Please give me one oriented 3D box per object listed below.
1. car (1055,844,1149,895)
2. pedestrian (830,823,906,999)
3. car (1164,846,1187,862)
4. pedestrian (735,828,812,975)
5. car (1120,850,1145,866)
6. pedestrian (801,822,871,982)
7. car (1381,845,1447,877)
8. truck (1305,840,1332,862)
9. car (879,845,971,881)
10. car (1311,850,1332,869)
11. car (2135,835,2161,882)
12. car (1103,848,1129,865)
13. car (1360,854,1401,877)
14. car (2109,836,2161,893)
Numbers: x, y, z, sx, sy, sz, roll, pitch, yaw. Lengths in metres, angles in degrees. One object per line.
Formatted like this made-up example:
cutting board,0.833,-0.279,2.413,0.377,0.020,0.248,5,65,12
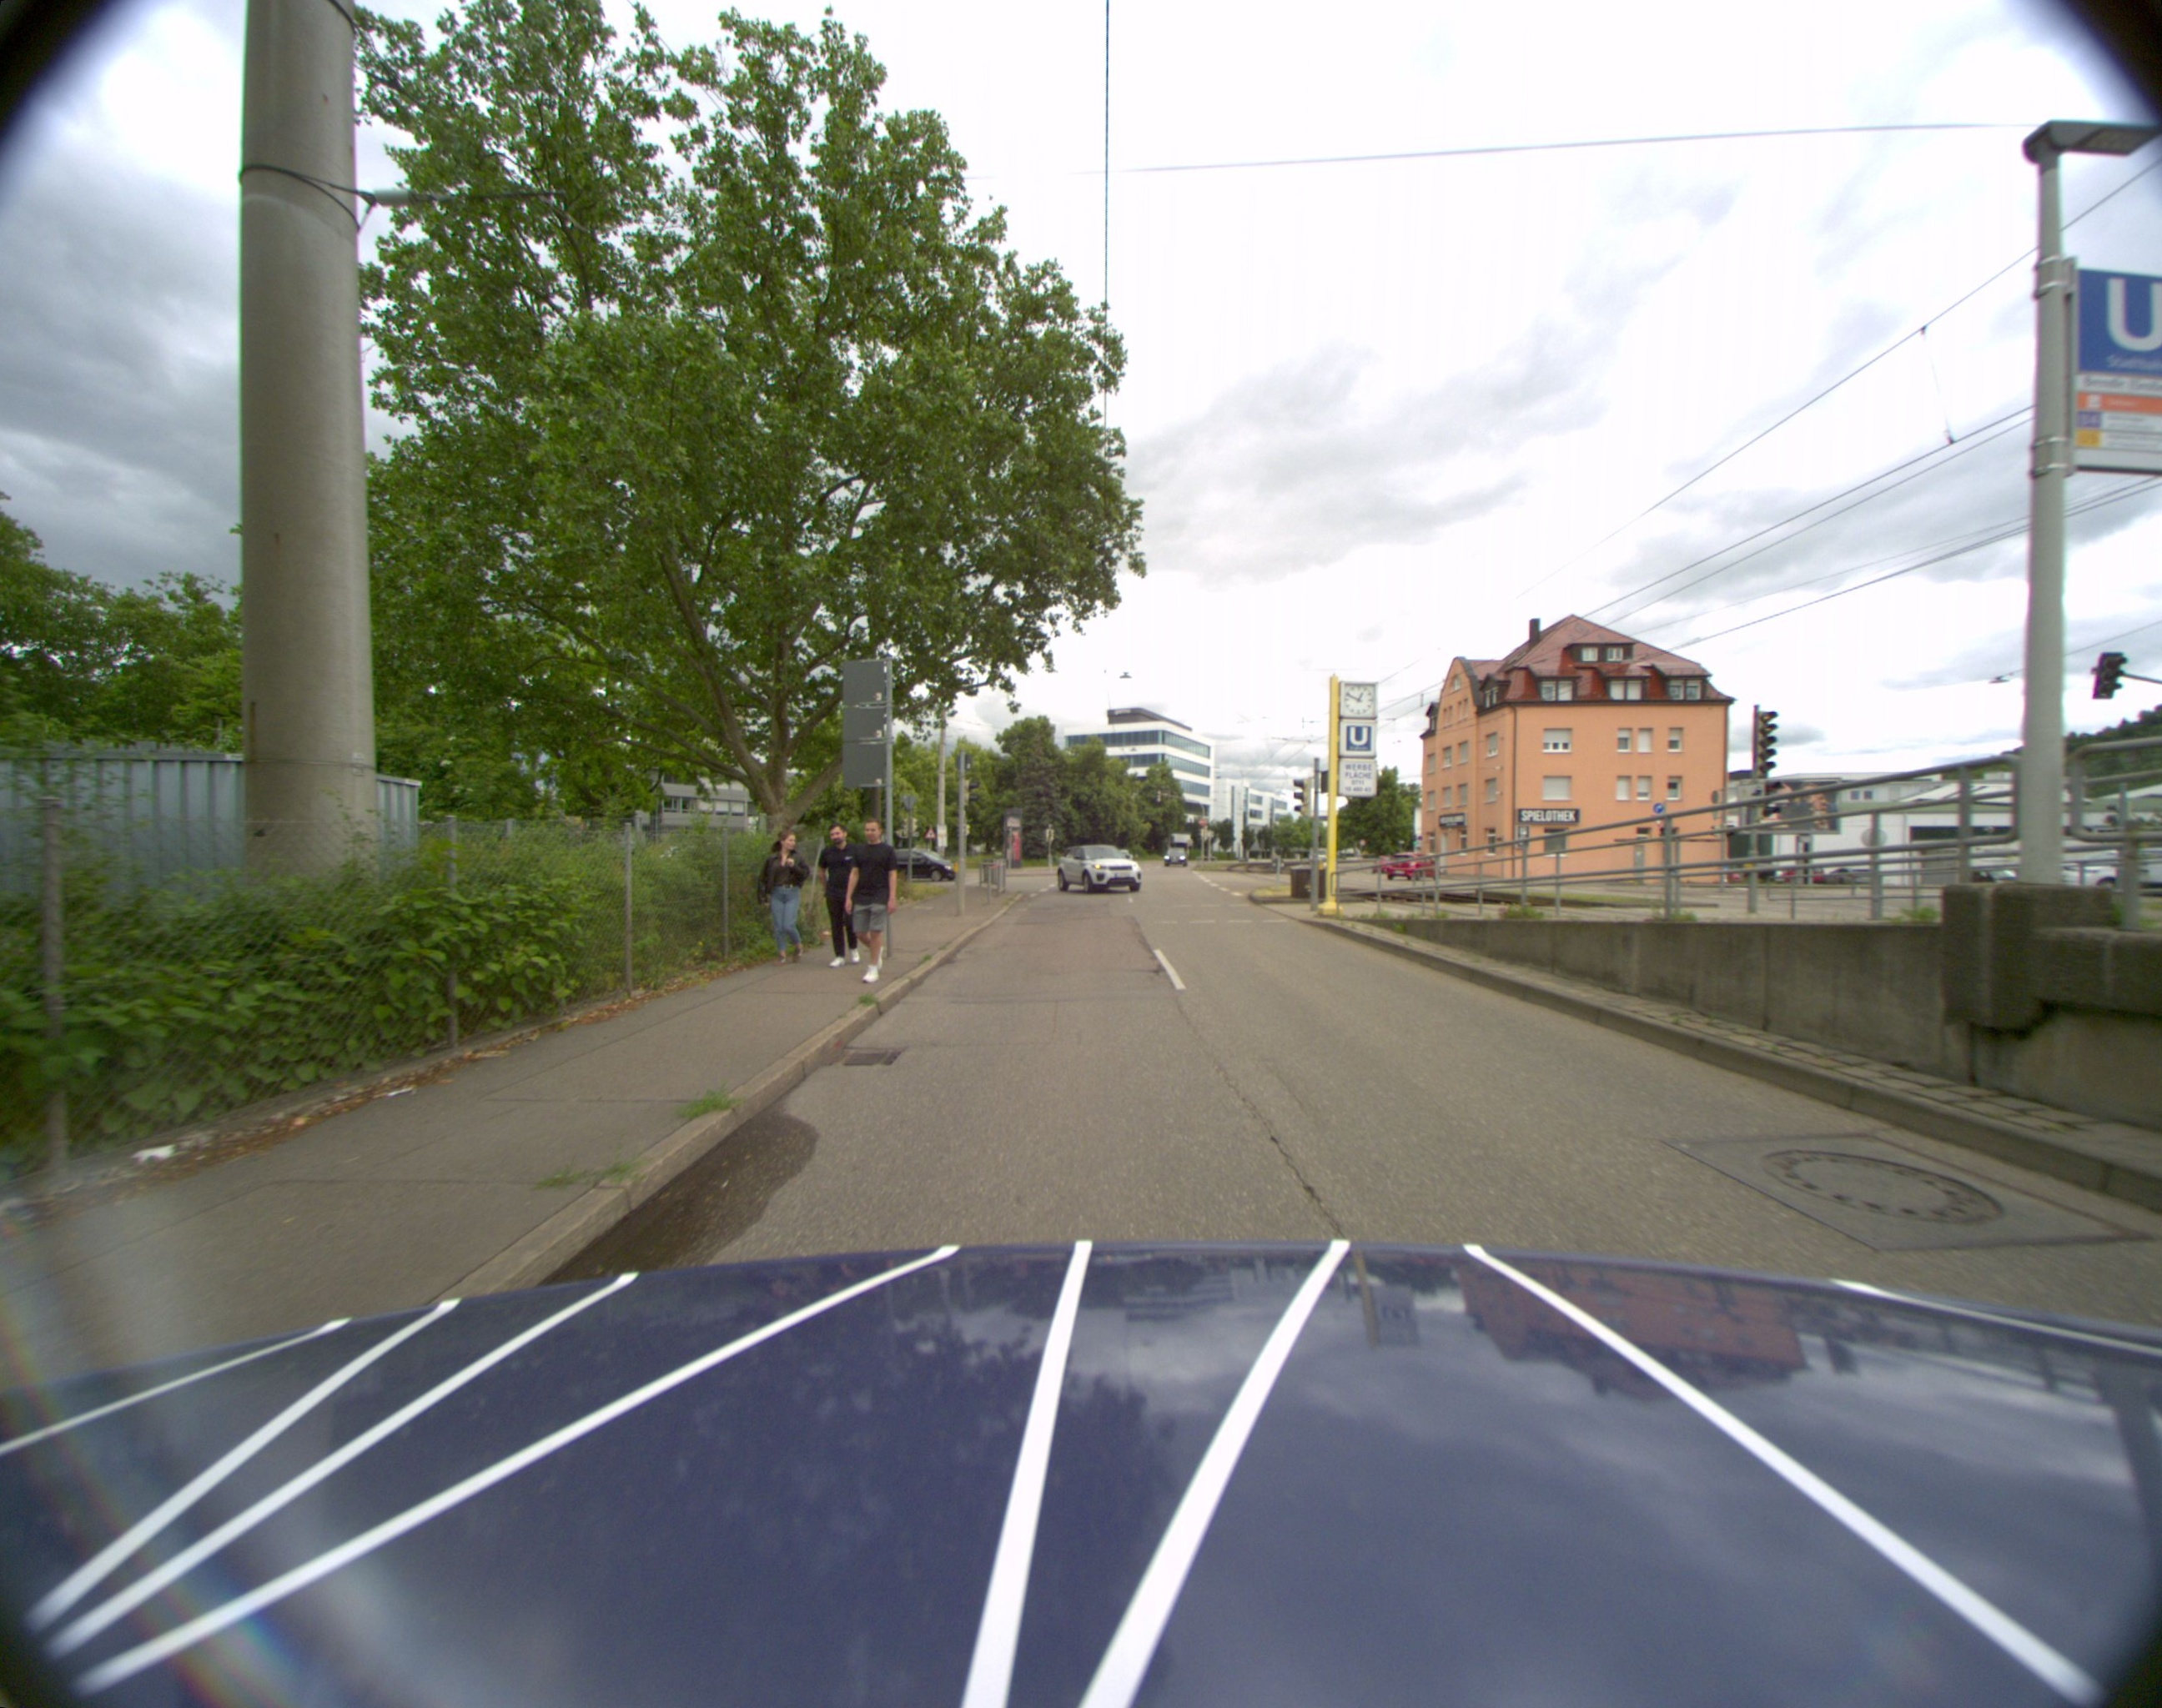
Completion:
car,0.645,0.484,26.648,1.919,1.561,4.105,1,2,-19
pedestrian,-2.329,0.602,8.382,0.604,1.858,0.671,0,5,1
car,8.238,-0.020,66.139,1.626,1.324,3.177,0,1,14
pedestrian,-3.676,0.543,9.141,0.604,1.681,0.671,0,5,1
car,5.023,0.358,73.190,1.746,1.418,4.169,0,1,14
pedestrian,-2.948,0.553,9.191,0.604,1.857,0.671,0,2,1
car,17.867,0.341,40.701,3.748,1.521,1.762,-1,3,-41
truck,27.005,-0.336,86.408,2.315,2.408,5.663,3,1,22
car,-7.954,0.442,38.691,4.220,1.761,1.836,0,-1,19
car,24.356,0.570,77.011,1.596,1.410,3.381,-6,-7,13
car,53.883,0.343,35.711,2.000,2.231,4.504,0,4,-8
car,3.038,0.207,65.533,1.746,1.384,3.706,0,1,11
car,24.465,0.932,62.221,1.702,1.517,3.997,-1,4,0
car,43.022,0.350,28.994,4.828,2.030,2.004,-2,3,-1
